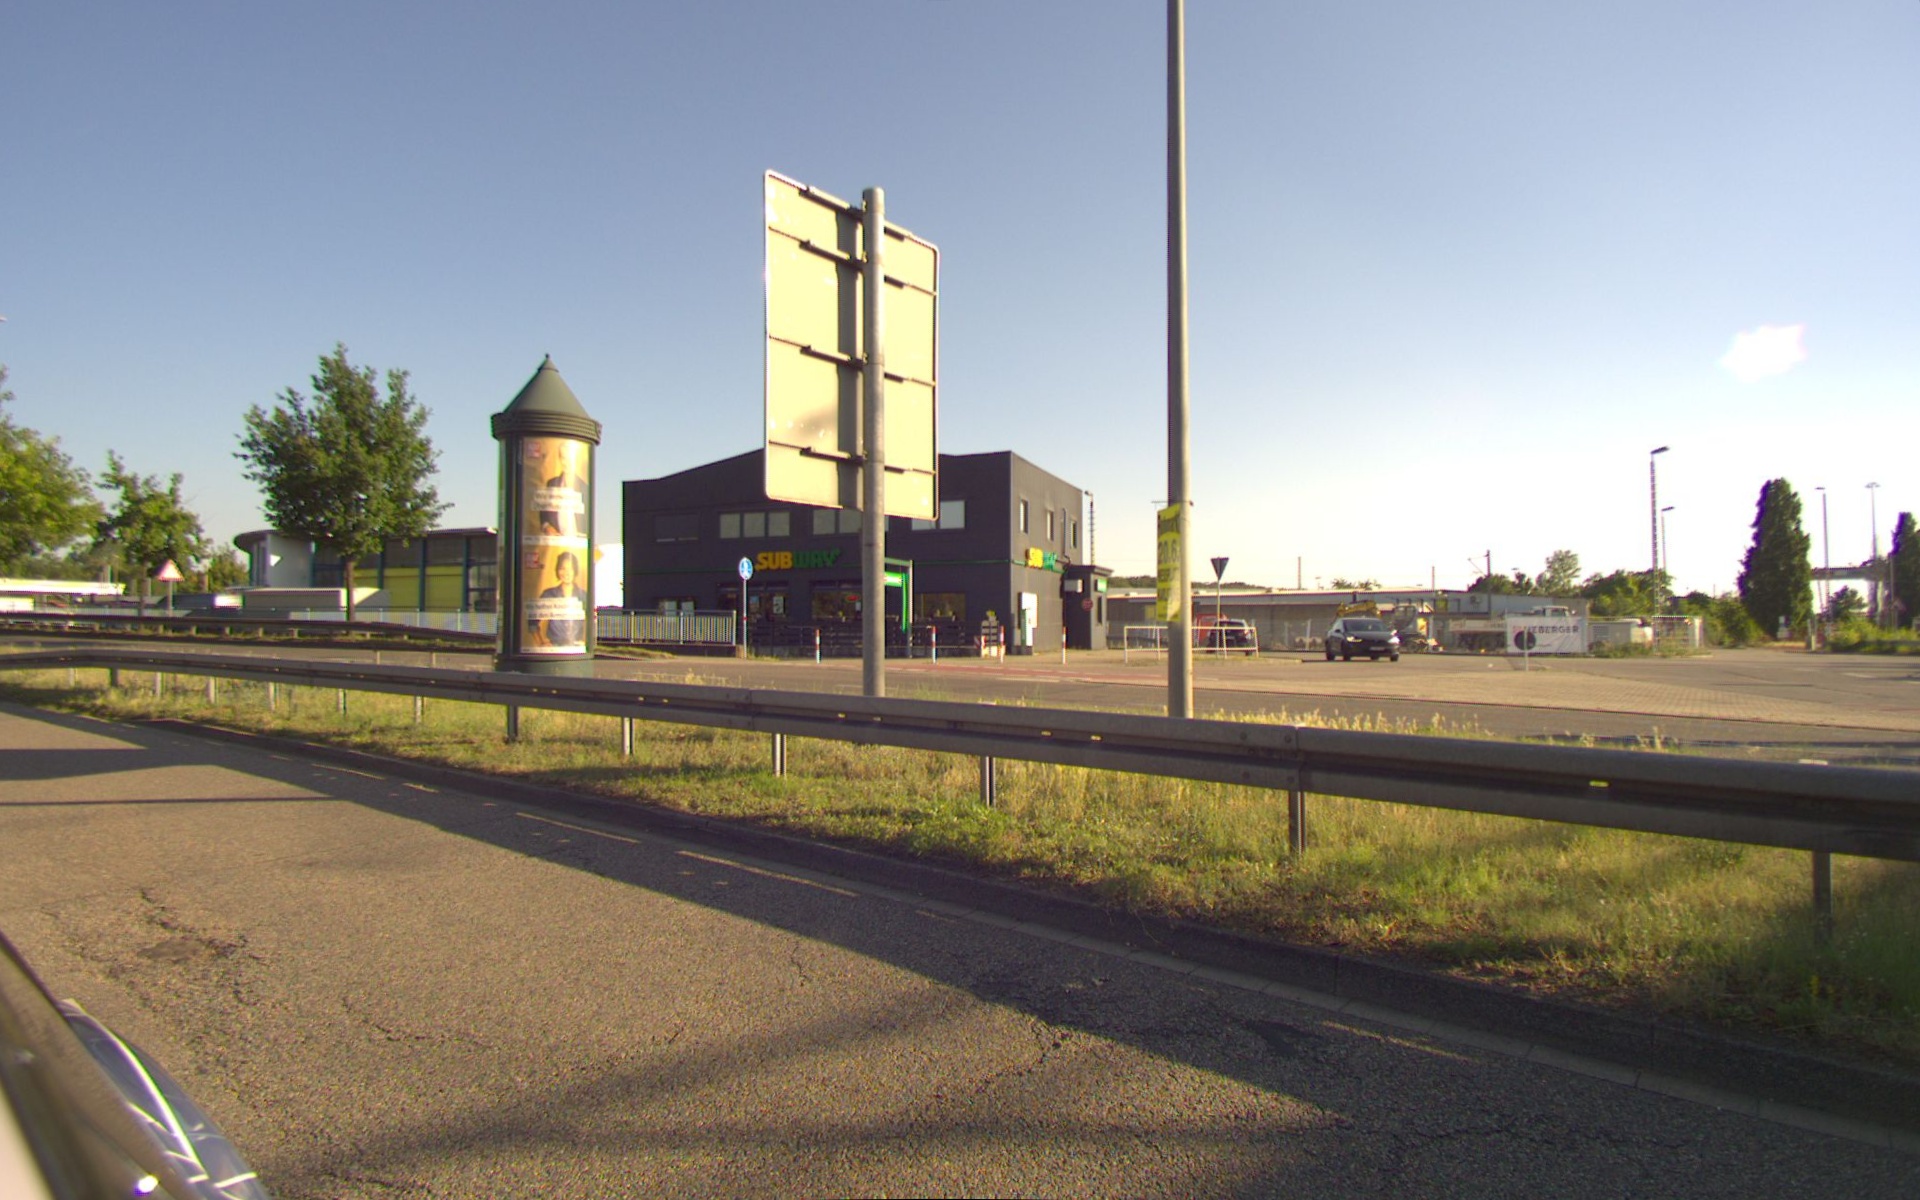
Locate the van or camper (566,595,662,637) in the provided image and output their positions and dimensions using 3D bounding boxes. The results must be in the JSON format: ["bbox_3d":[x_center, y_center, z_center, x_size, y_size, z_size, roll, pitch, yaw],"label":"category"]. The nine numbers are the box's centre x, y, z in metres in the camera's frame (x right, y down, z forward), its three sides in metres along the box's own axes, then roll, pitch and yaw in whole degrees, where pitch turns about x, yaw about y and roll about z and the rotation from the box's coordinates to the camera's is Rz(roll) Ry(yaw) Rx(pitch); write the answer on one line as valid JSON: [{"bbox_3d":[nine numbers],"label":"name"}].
[{"bbox_3d":[-17.328,0.795,50.733,4.158,1.940,2.006,2,-1,-33],"label":"van or camper"}]

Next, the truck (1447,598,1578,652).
[{"bbox_3d":[34.362,1.530,63.111,6.696,3.168,2.434,1,-1,6],"label":"truck"}]

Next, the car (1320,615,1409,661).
[{"bbox_3d":[15.579,1.420,39.210,1.768,1.676,4.516,0,-1,2],"label":"car"}]

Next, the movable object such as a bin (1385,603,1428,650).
[{"bbox_3d":[26.665,1.570,60.424,2.210,2.735,1.723,0,-1,28],"label":"movable object such as a bin"}]

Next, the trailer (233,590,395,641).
[{"bbox_3d":[-27.379,0.636,42.883,6.560,1.985,2.409,1,-1,22],"label":"trailer"}]

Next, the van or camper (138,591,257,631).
[{"bbox_3d":[-34.203,0.479,45.398,4.924,1.698,1.986,1,-1,21],"label":"van or camper"}]

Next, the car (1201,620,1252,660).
[{"bbox_3d":[11.165,1.625,42.240,1.829,1.541,3.975,0,-1,18],"label":"car"}]
